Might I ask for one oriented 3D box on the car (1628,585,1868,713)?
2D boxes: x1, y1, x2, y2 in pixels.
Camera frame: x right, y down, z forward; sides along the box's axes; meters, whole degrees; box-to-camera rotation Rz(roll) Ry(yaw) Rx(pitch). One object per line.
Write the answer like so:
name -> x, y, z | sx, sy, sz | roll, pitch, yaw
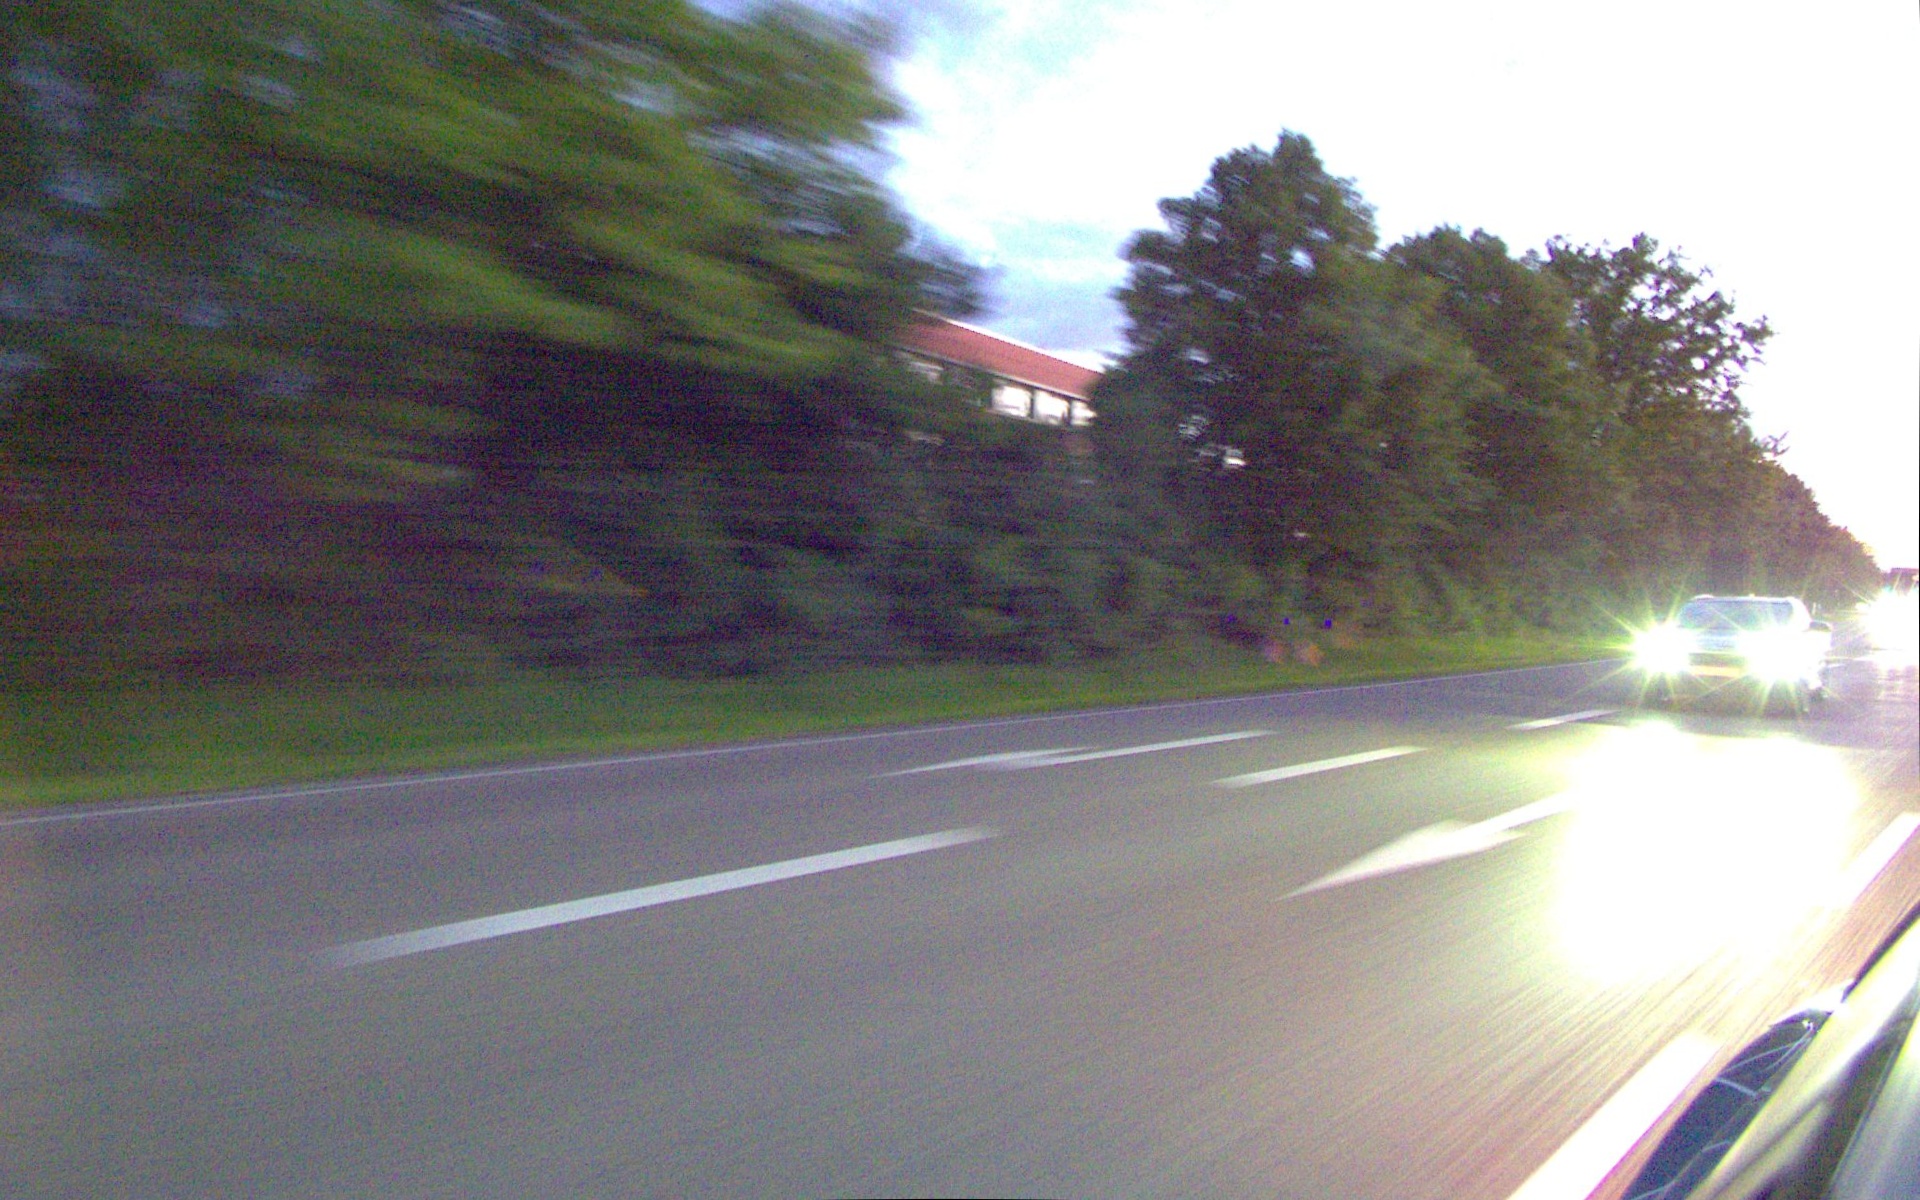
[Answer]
car -> 11.908, 0.616, 15.177 | 4.629, 1.630, 1.997 | 0, 0, -41
